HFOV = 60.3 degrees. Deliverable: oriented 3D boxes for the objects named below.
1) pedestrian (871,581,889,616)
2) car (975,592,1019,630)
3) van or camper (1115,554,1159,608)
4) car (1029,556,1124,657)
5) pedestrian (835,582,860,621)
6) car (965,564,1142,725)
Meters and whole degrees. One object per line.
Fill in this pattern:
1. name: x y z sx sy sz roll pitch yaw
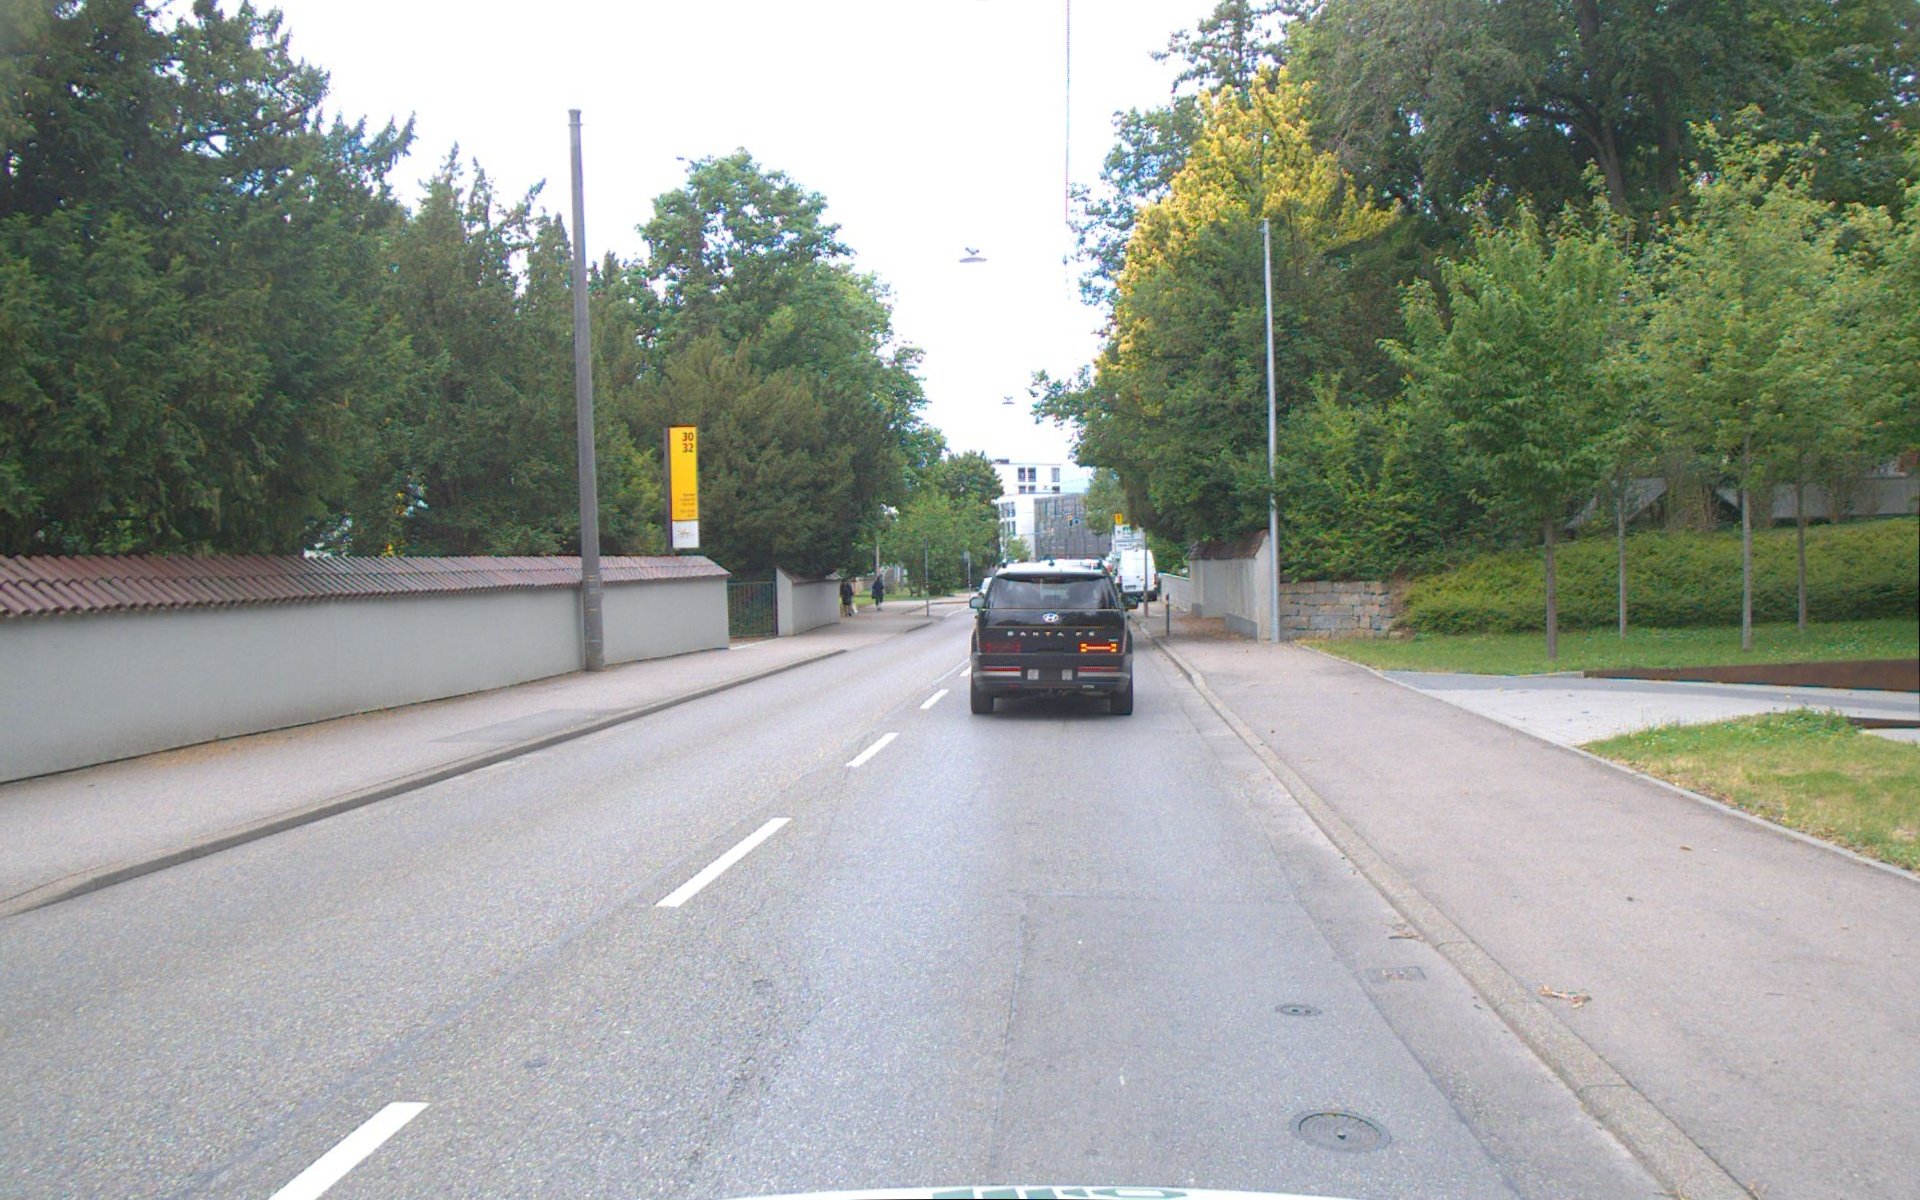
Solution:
1. pedestrian: -3.720 -0.060 76.805 0.733 1.605 0.967 0 0 4
2. car: 1.600 0.451 70.363 1.748 1.453 4.001 -3 0 2
3. van or camper: 9.421 -1.013 88.354 1.923 2.673 6.362 -3 0 4
4. car: 2.568 0.132 36.592 1.922 2.036 4.002 -2 0 4
5. pedestrian: -4.641 0.074 68.173 0.906 1.588 0.902 1 -1 0
6. car: 1.122 0.457 19.967 1.922 1.741 4.002 0 1 3
